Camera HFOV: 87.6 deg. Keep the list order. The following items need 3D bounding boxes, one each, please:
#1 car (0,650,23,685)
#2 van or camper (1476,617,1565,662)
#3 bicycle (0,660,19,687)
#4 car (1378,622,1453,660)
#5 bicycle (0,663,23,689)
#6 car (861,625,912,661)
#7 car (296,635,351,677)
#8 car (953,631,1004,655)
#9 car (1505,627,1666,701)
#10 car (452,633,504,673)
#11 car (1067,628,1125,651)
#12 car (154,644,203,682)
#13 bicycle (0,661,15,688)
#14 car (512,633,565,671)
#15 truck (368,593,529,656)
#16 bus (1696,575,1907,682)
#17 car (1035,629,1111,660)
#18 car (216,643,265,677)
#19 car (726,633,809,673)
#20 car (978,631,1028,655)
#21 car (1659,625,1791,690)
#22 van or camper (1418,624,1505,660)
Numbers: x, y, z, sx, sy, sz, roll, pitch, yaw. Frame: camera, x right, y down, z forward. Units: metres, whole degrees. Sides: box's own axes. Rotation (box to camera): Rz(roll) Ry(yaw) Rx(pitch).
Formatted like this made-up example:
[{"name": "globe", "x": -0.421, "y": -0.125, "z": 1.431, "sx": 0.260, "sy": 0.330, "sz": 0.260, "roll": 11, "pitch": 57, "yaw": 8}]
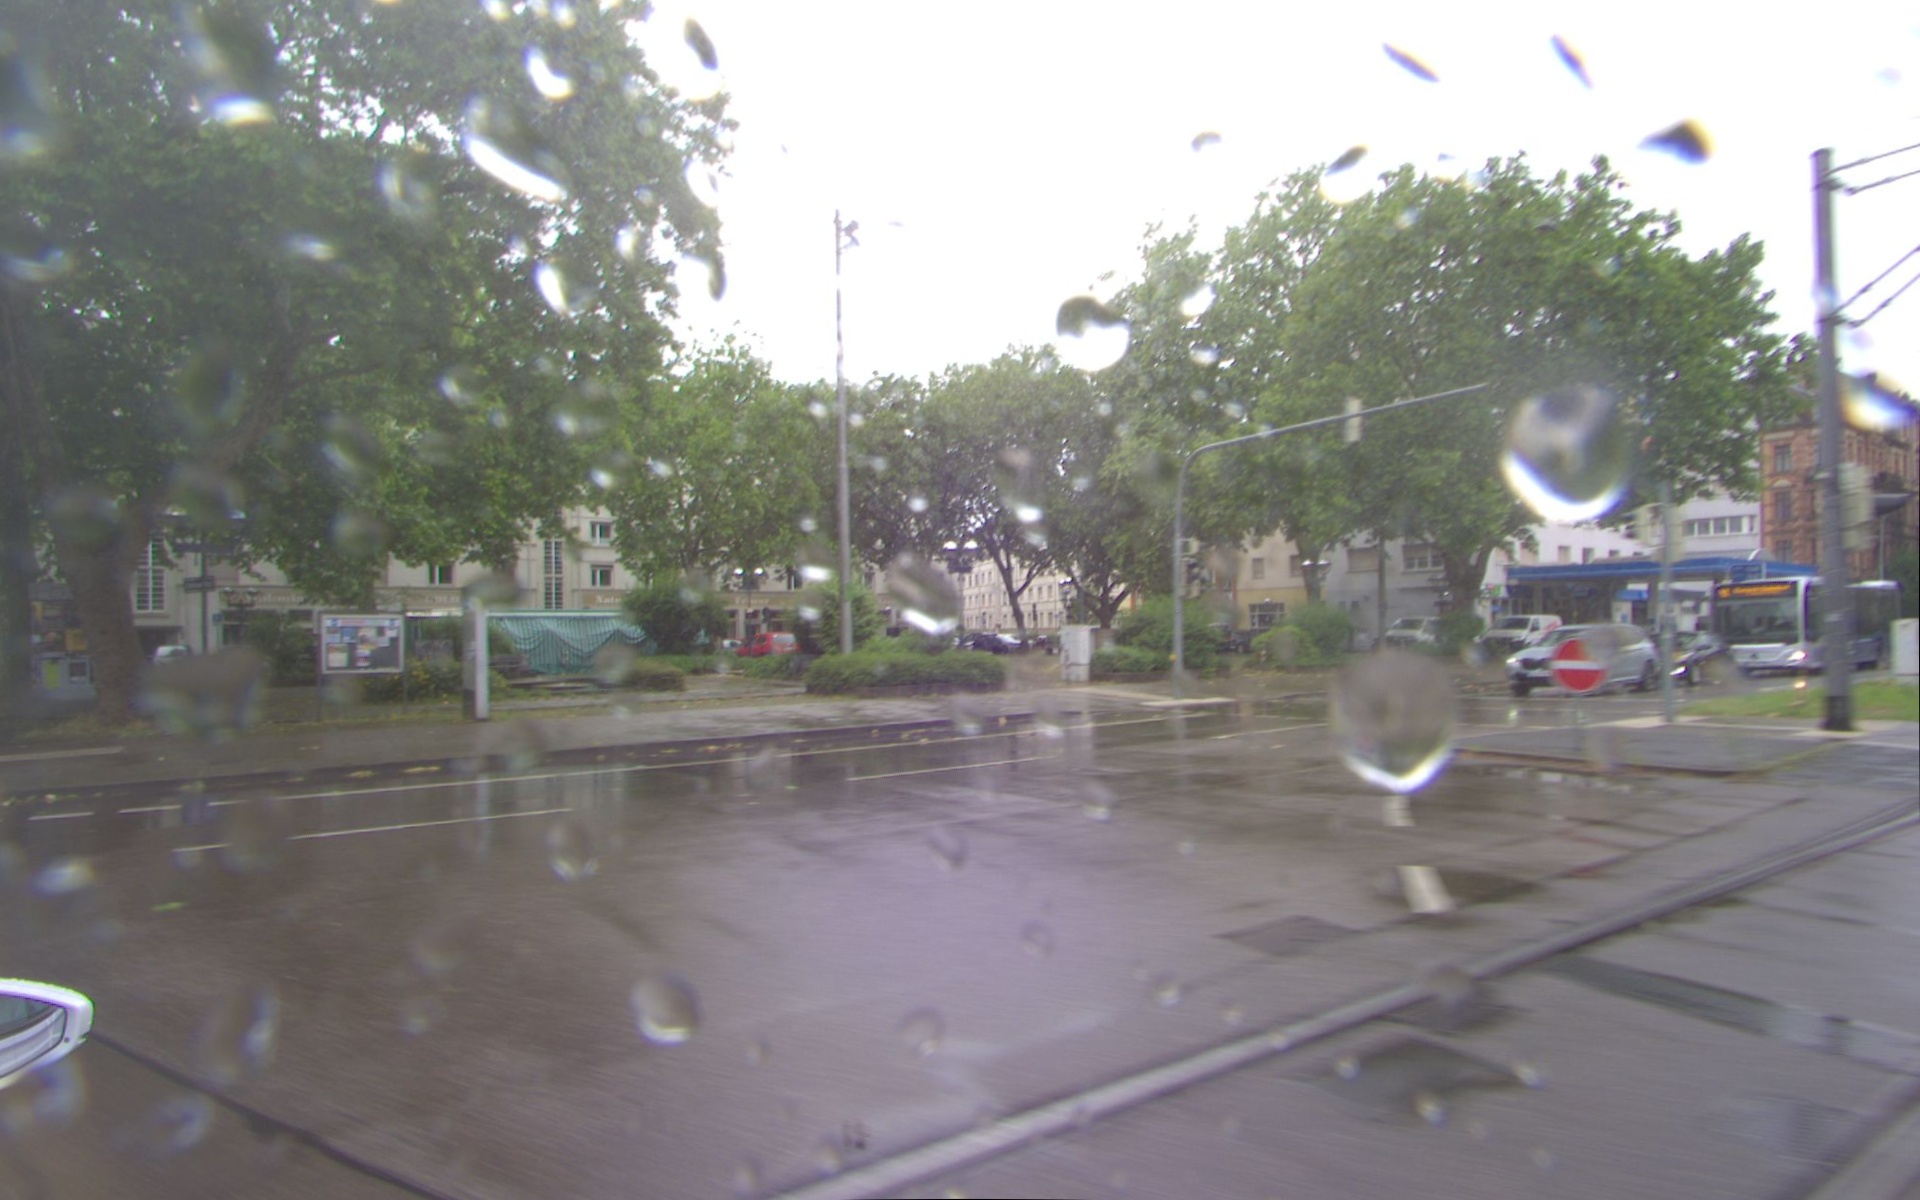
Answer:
[{"name": "car", "x": -40.101, "y": 2.812, "z": 41.353, "sx": 1.567, "sy": 1.352, "sz": 3.244, "roll": 0, "pitch": -4, "yaw": -35}, {"name": "van or camper", "x": 25.609, "y": 1.775, "z": 45.692, "sx": 4.617, "sy": 1.939, "sz": 1.984, "roll": 1, "pitch": -2, "yaw": -39}, {"name": "bicycle", "x": -37.384, "y": 2.822, "z": 38.106, "sx": 2.231, "sy": 0.981, "sz": 0.531, "roll": 0, "pitch": -2, "yaw": -36}, {"name": "car", "x": 22.888, "y": 2.019, "z": 50.230, "sx": 4.212, "sy": 1.801, "sz": 1.725, "roll": 0, "pitch": -2, "yaw": -39}, {"name": "bicycle", "x": -37.899, "y": 2.955, "z": 38.805, "sx": 2.226, "sy": 0.981, "sz": 0.581, "roll": 0, "pitch": -2, "yaw": -36}, {"name": "car", "x": -4.909, "y": 2.883, "z": 66.249, "sx": 1.534, "sy": 2.230, "sz": 4.076, "roll": 0, "pitch": -4, "yaw": -34}, {"name": "car", "x": -30.627, "y": 2.714, "z": 48.115, "sx": 2.133, "sy": 1.860, "sz": 3.978, "roll": 0, "pitch": -4, "yaw": -34}, {"name": "car", "x": 1.290, "y": 3.063, "z": 71.139, "sx": 1.694, "sy": 1.638, "sz": 3.978, "roll": 2, "pitch": -4, "yaw": -33}, {"name": "car", "x": 15.188, "y": 1.482, "z": 24.233, "sx": 4.499, "sy": 1.620, "sz": 1.779, "roll": 1, "pitch": -2, "yaw": -36}, {"name": "car", "x": -24.447, "y": 2.706, "z": 50.686, "sx": 1.815, "sy": 1.860, "sz": 3.978, "roll": 0, "pitch": -4, "yaw": -34}, {"name": "car", "x": 9.604, "y": 2.783, "z": 70.674, "sx": 3.947, "sy": 1.470, "sz": 1.667, "roll": 0, "pitch": -2, "yaw": -34}, {"name": "car", "x": -35.030, "y": 2.804, "z": 44.920, "sx": 1.665, "sy": 1.595, "sz": 3.709, "roll": 0, "pitch": -3, "yaw": -38}, {"name": "bicycle", "x": -36.930, "y": 2.820, "z": 37.449, "sx": 2.260, "sy": 0.995, "sz": 0.542, "roll": 0, "pitch": -2, "yaw": -36}, {"name": "car", "x": -22.217, "y": 2.754, "z": 52.712, "sx": 1.815, "sy": 1.860, "sz": 3.978, "roll": 0, "pitch": -4, "yaw": -34}, {"name": "truck", "x": -23.467, "y": 1.144, "z": 46.105, "sx": 6.325, "sy": 2.733, "sz": 2.251, "roll": 1, "pitch": -2, "yaw": -38}, {"name": "bus", "x": 29.130, "y": 0.950, "z": 34.346, "sx": 11.954, "sy": 3.153, "sz": 2.873, "roll": 1, "pitch": -1, "yaw": -37}, {"name": "car", "x": 6.250, "y": 2.483, "z": 55.762, "sx": 1.977, "sy": 1.638, "sz": 3.969, "roll": 0, "pitch": -2, "yaw": -39}, {"name": "car", "x": -33.651, "y": 2.838, "z": 46.895, "sx": 1.662, "sy": 1.449, "sz": 3.718, "roll": 0, "pitch": -4, "yaw": -32}, {"name": "car", "x": -7.927, "y": 2.166, "z": 41.088, "sx": 1.652, "sy": 1.541, "sz": 3.644, "roll": 0, "pitch": -2, "yaw": -44}, {"name": "car", "x": 3.119, "y": 3.178, "z": 73.285, "sx": 1.694, "sy": 1.638, "sz": 3.978, "roll": 2, "pitch": -4, "yaw": -33}, {"name": "car", "x": 20.912, "y": 1.511, "z": 27.329, "sx": 4.127, "sy": 1.620, "sz": 1.766, "roll": 1, "pitch": -1, "yaw": -36}, {"name": "van or camper", "x": 23.997, "y": 1.956, "z": 47.838, "sx": 4.617, "sy": 1.619, "sz": 1.984, "roll": 1, "pitch": -2, "yaw": -39}]
